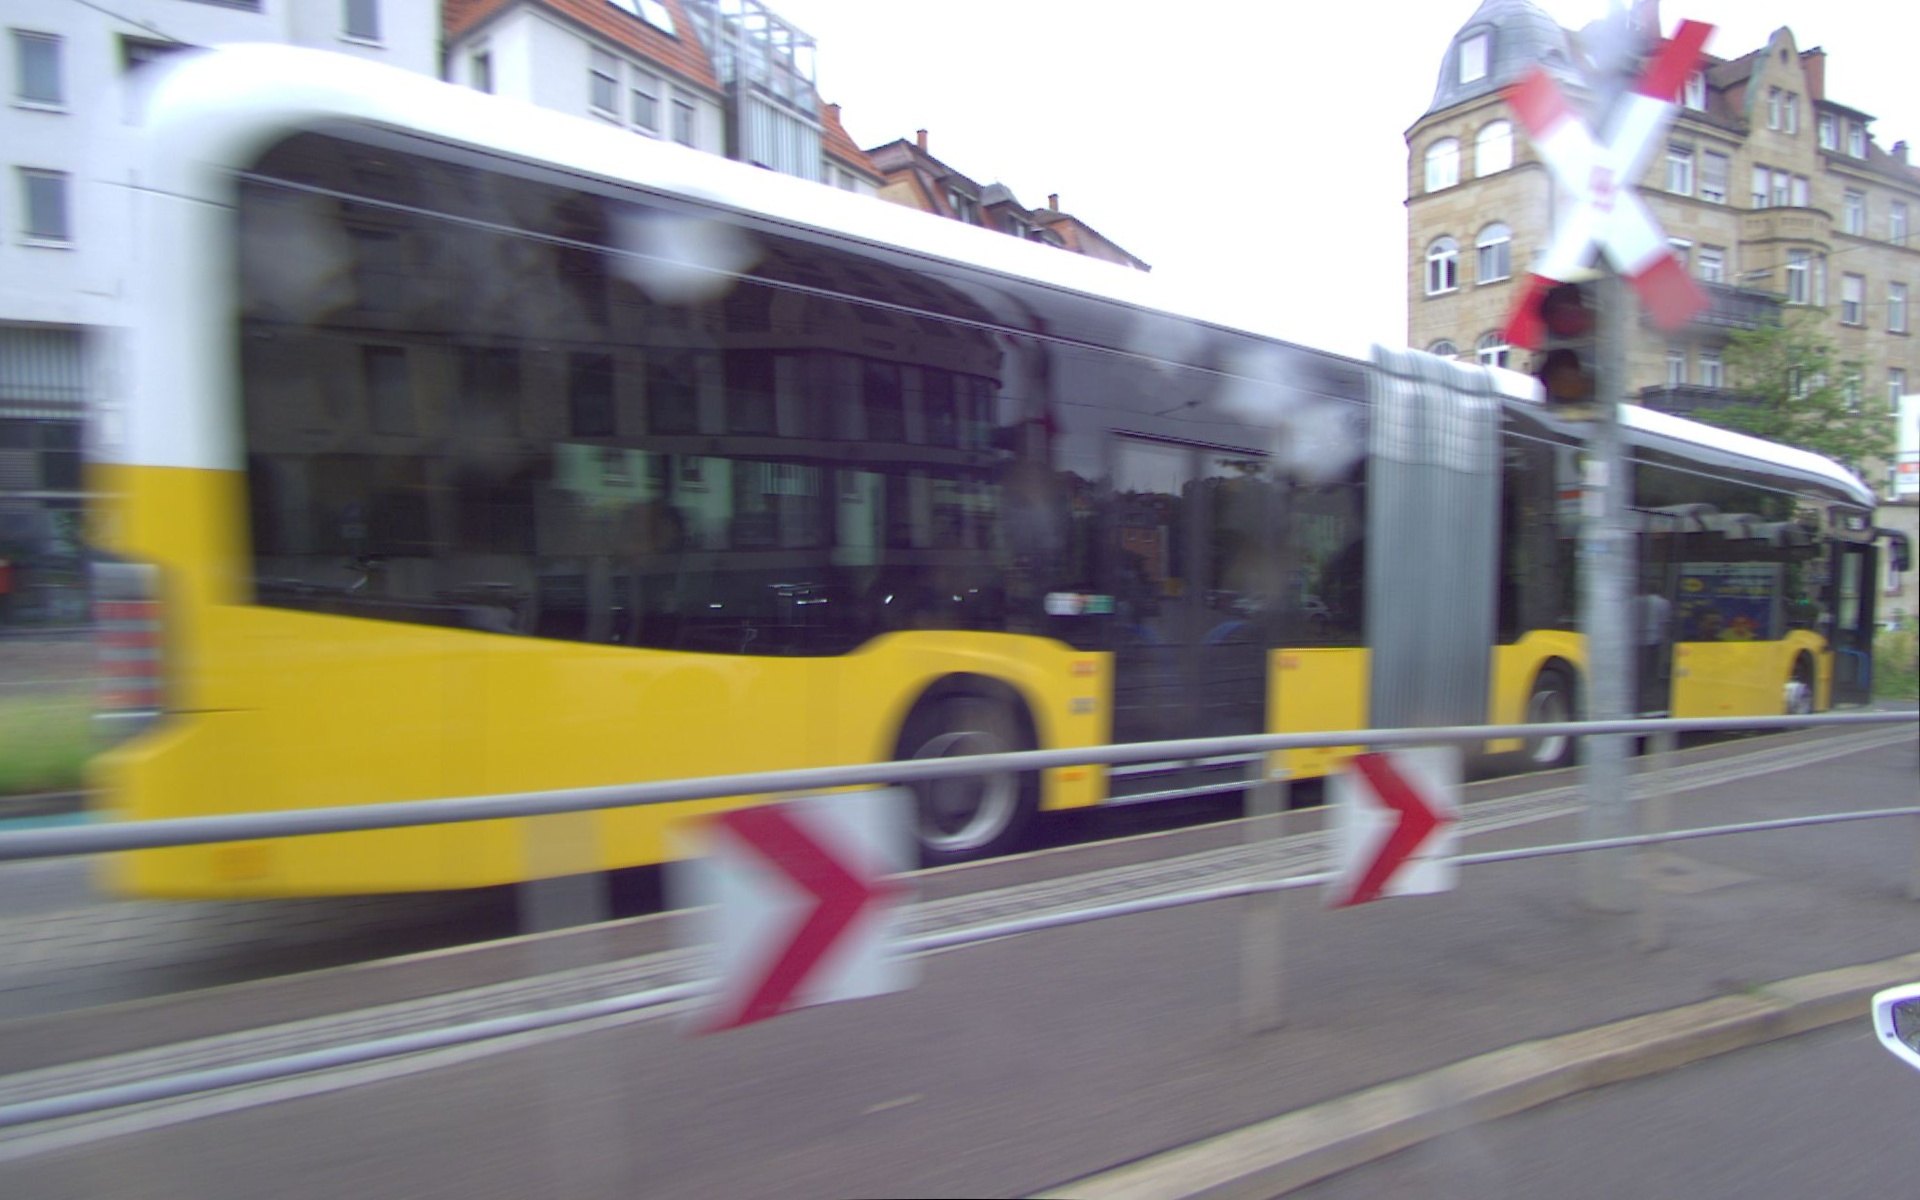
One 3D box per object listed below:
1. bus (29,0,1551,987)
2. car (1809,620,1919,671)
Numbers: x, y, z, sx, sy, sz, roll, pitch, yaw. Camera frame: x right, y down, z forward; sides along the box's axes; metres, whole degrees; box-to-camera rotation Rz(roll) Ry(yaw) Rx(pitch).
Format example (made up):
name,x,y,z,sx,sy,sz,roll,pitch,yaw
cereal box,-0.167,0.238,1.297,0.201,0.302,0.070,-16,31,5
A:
name,x,y,z,sx,sy,sz,roll,pitch,yaw
bus,0.272,-0.447,6.649,9.011,3.515,2.575,2,-1,-34
car,30.196,1.488,33.240,4.118,1.568,1.626,2,0,-25
